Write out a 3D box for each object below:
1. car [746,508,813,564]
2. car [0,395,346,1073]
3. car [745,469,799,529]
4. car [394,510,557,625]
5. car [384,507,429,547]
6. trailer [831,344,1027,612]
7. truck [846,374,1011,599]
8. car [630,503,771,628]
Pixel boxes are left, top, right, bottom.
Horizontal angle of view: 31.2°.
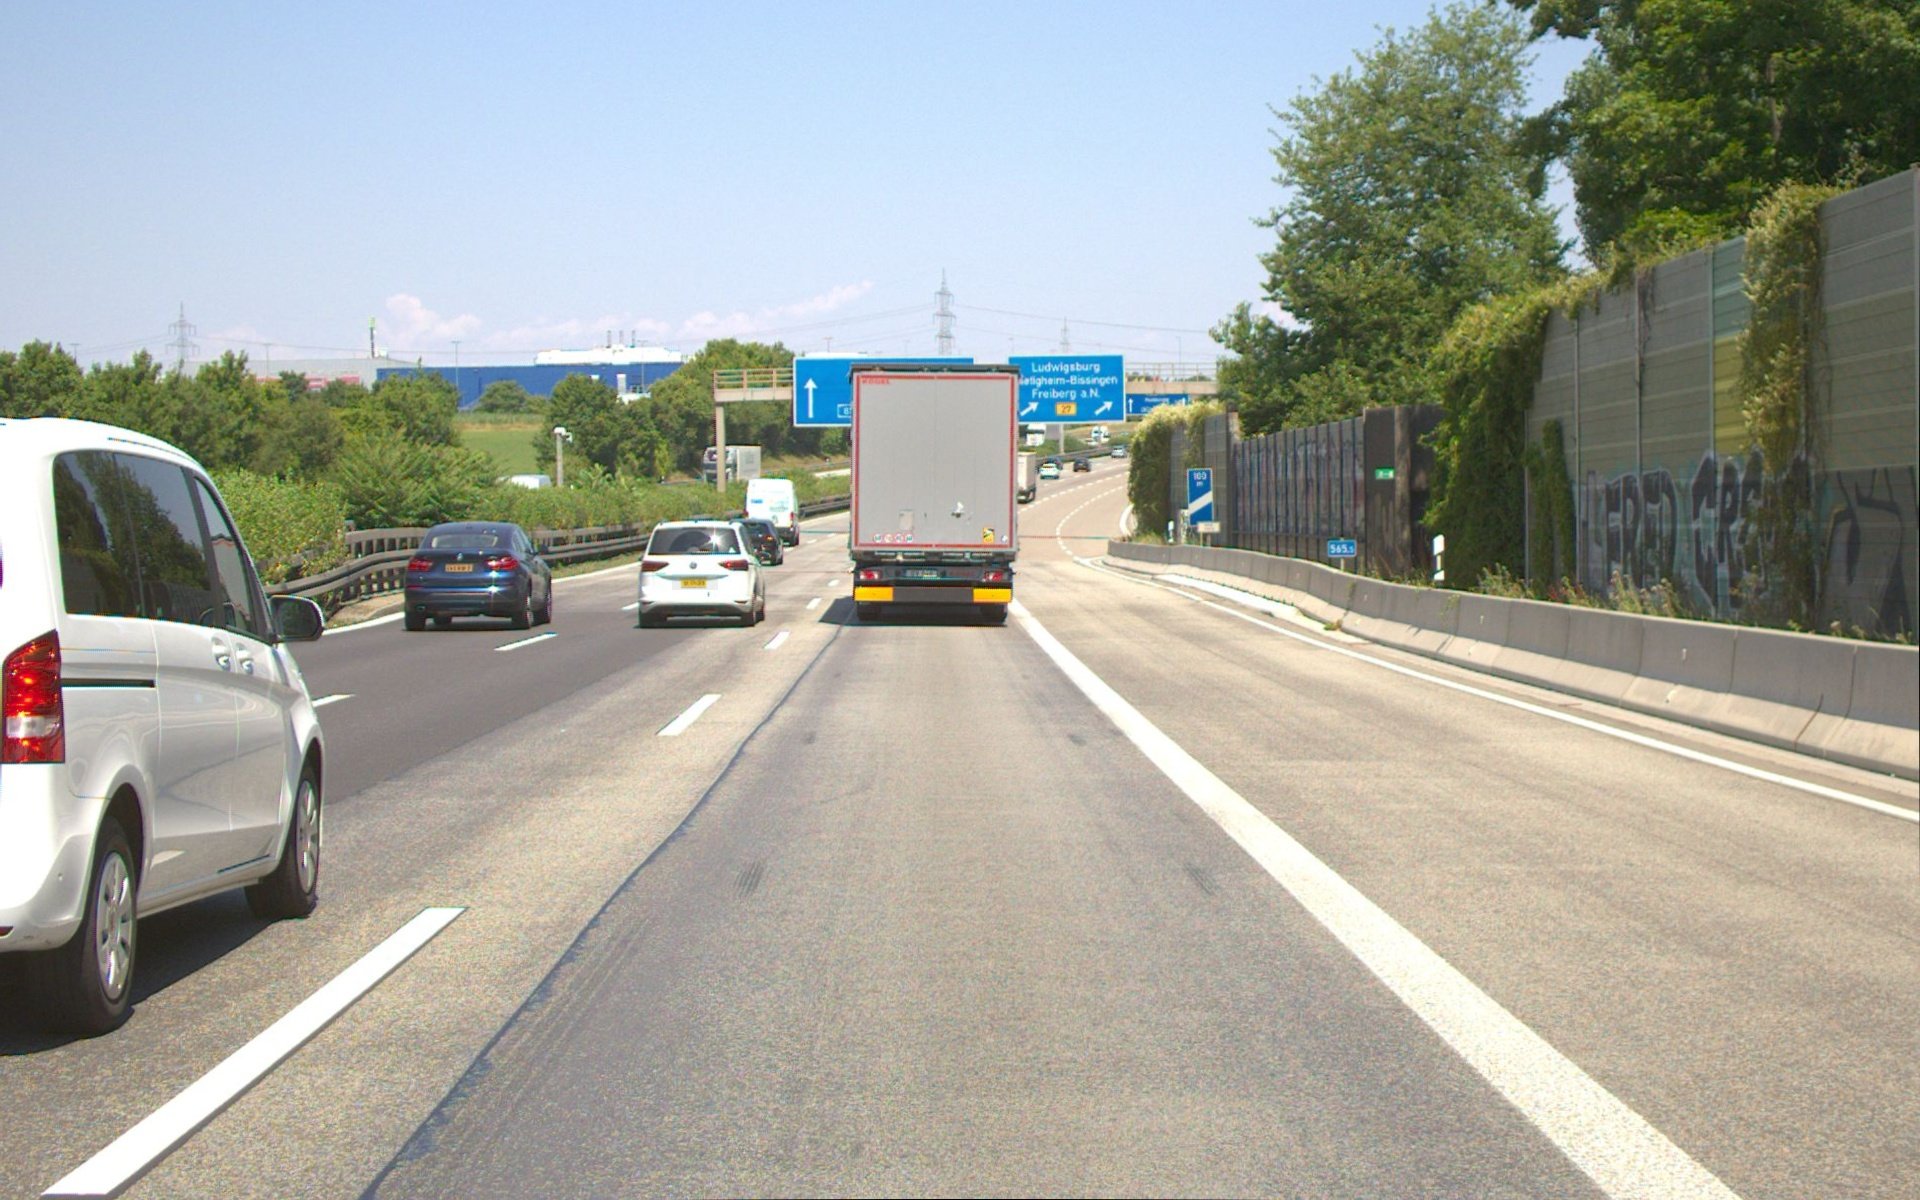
[{"bbox_3d":[-5.622,-2.013,107.361,1.904,1.683,4.631,0,1,-1],"label":"car"},{"bbox_3d":[-3.448,0.308,11.682,1.930,1.845,4.693,0,1,-1],"label":"car"},{"bbox_3d":[-7.748,-4.169,141.992,1.993,2.366,4.000,1,1,-1],"label":"car"},{"bbox_3d":[-7.415,-0.528,52.980,1.904,1.683,4.631,0,1,-1],"label":"car"},{"bbox_3d":[-27.983,-3.708,173.970,1.671,2.007,4.000,0,1,-1],"label":"car"},{"bbox_3d":[-0.540,-1.970,57.648,2.928,4.001,12.039,0,1,-1],"label":"trailer"},{"bbox_3d":[-0.606,-2.105,65.133,2.928,4.001,7.584,0,1,-1],"label":"truck"},{"bbox_3d":[-3.994,-0.566,53.527,1.904,1.845,4.631,0,1,-1],"label":"car"}]
